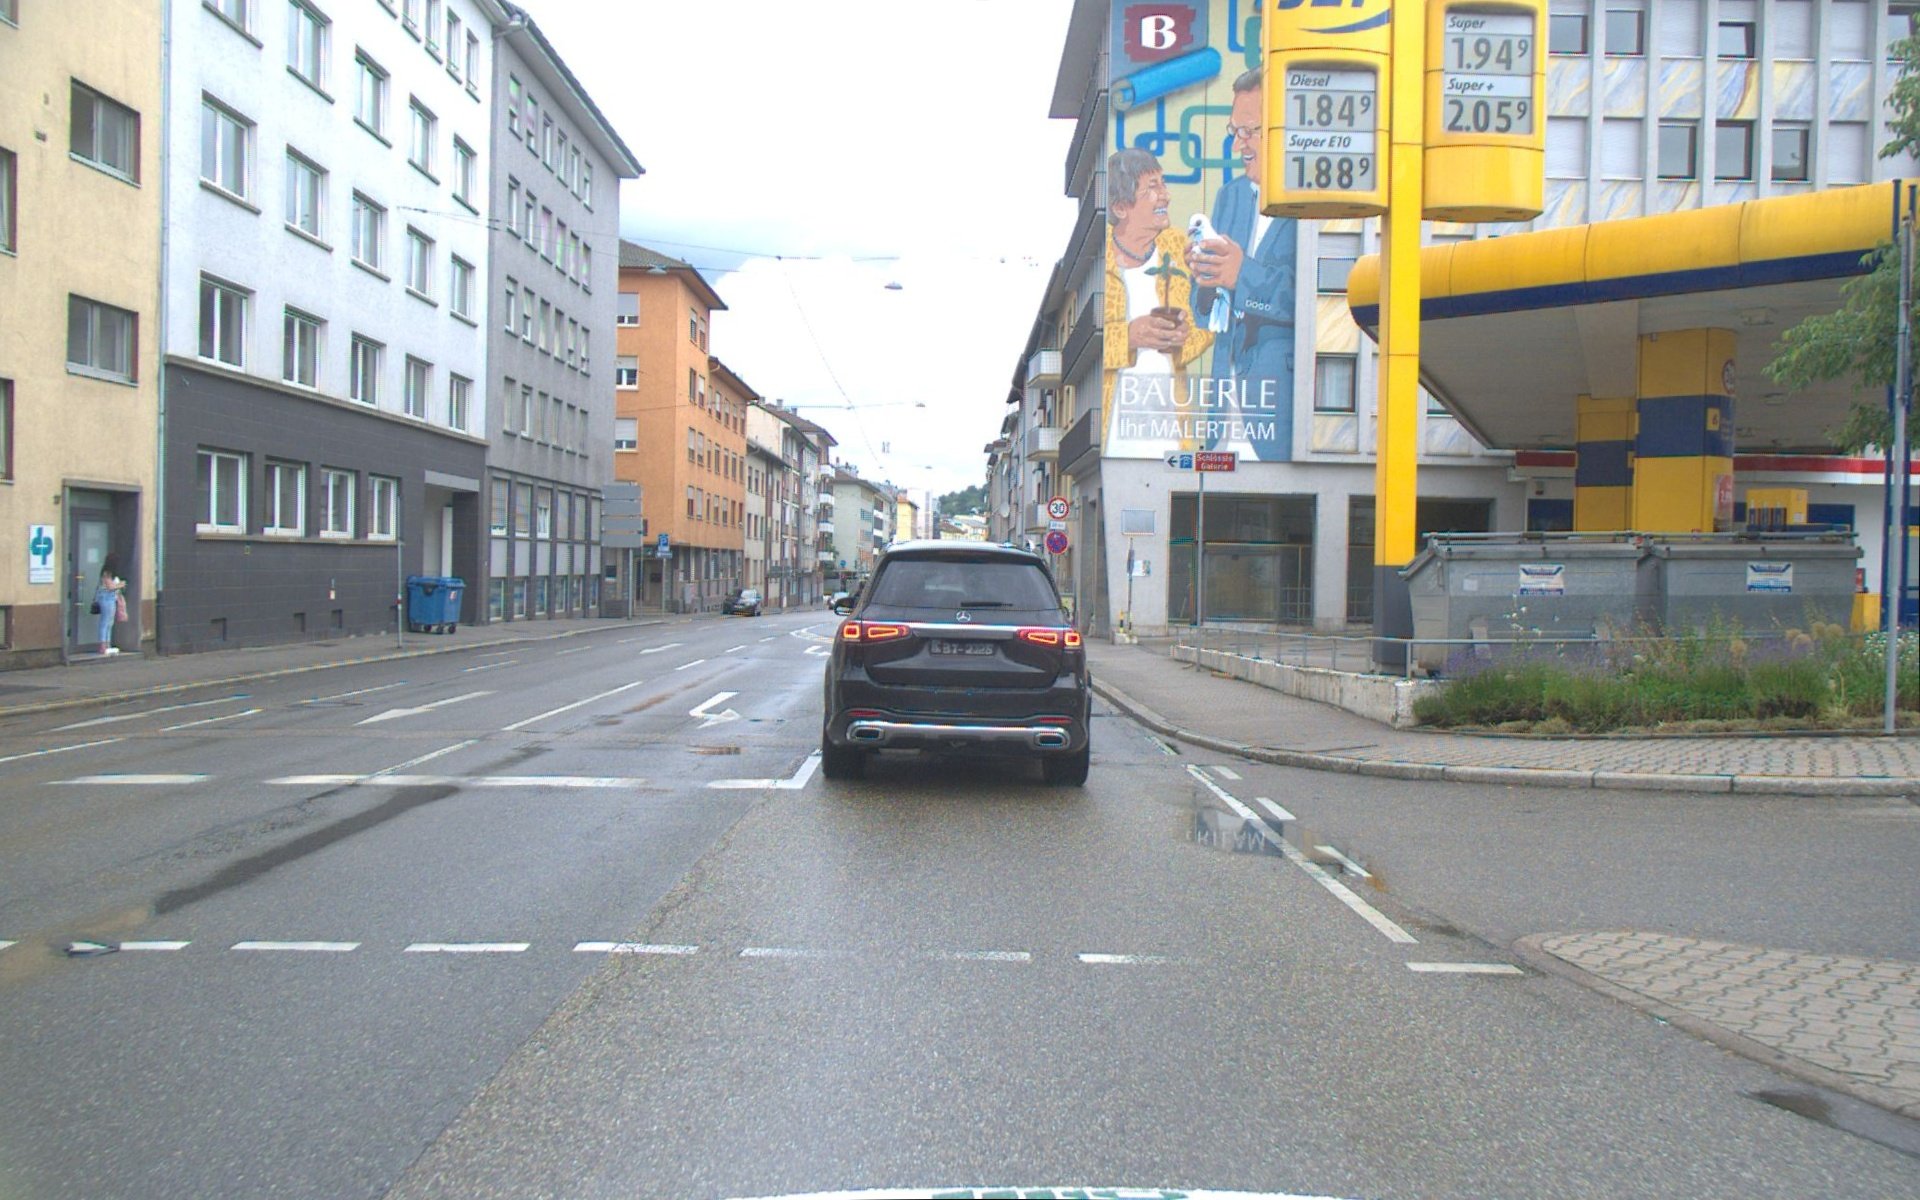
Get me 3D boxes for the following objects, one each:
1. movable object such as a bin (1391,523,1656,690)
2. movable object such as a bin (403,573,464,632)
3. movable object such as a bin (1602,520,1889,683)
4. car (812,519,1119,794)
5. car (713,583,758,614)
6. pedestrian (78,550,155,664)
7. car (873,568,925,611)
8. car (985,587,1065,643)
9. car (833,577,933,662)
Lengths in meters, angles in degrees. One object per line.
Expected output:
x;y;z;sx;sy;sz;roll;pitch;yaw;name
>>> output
5.723;0.057;17.005;2.111;1.602;1.773;1;0;0;movable object such as a bin
-12.798;0.057;40.223;1.054;1.347;1.190;3;0;-1;movable object such as a bin
8.004;0.009;17.018;2.111;1.582;1.773;0;0;0;movable object such as a bin
0.012;0.359;13.670;2.034;1.796;4.610;3;1;-1;car
-11.705;-0.092;86.535;1.853;1.484;4.547;3;0;-2;car
-13.101;0.101;25.713;0.702;1.719;0.811;3;0;1;pedestrian
-2.541;-0.466;70.007;2.034;1.678;4.295;3;1;-1;car
1.835;0.394;48.003;1.856;1.427;4.606;-4;1;-3;car
-1.601;0.366;34.420;1.856;1.536;4.171;4;0;-3;car
